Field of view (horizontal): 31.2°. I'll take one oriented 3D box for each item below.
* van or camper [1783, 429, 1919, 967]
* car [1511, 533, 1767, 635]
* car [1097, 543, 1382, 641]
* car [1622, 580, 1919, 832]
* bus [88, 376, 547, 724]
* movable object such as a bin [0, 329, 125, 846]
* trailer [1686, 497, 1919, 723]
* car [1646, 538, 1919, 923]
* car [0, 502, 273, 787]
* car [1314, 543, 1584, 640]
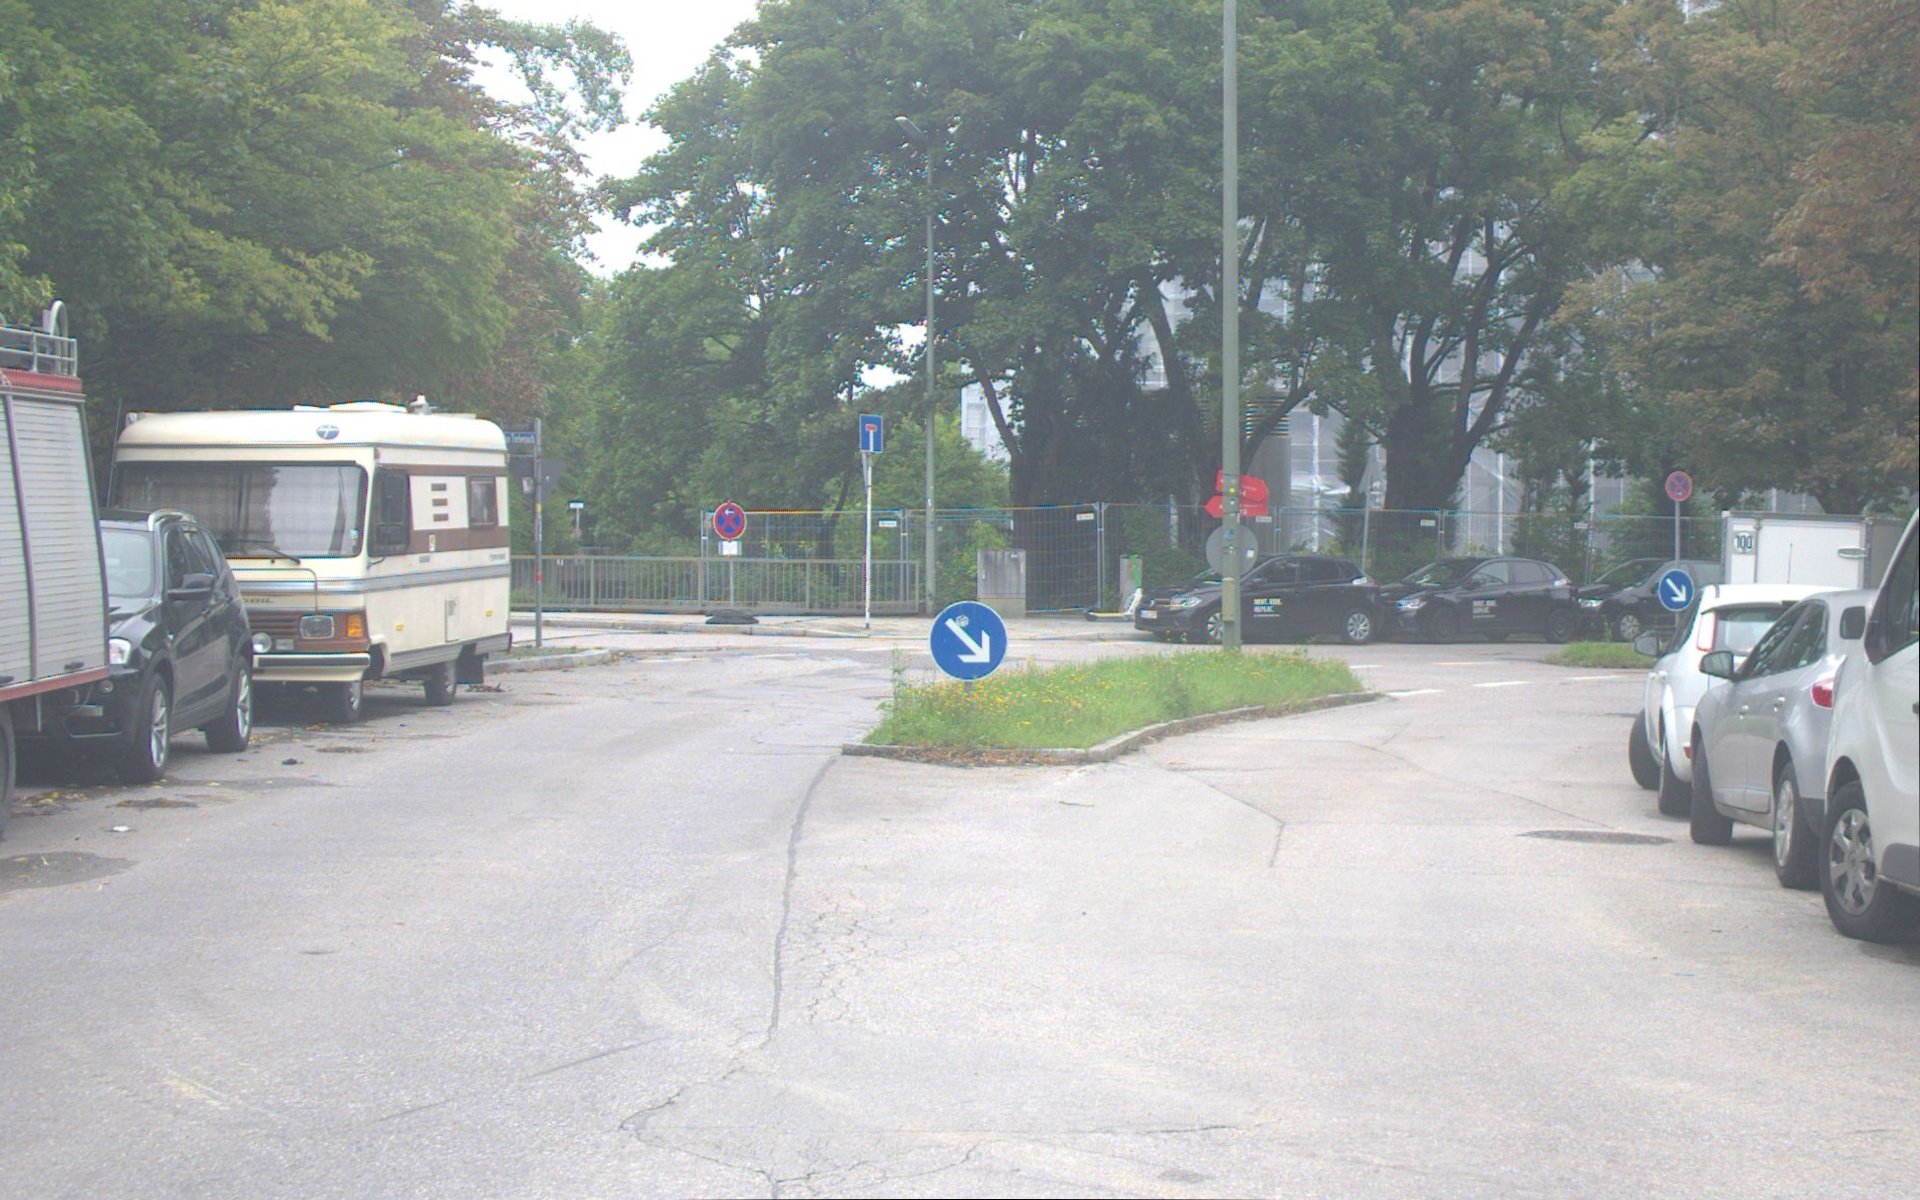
[{"bbox_3d":[4.577,0.379,12.474,1.993,2.007,5.376,1,1,2],"label":"van or camper"},{"bbox_3d":[11.732,-0.280,59.389,3.986,1.700,2.000,0,1,-30],"label":"car"},{"bbox_3d":[4.444,-0.125,54.582,4.029,1.428,2.000,0,3,-29],"label":"car"},{"bbox_3d":[5.446,0.632,23.135,1.767,1.481,4.219,1,1,9],"label":"car"},{"bbox_3d":[-5.360,-0.445,29.640,2.315,2.690,5.733,1,1,6],"label":"bus"},{"bbox_3d":[-5.605,-0.055,15.512,2.104,2.450,6.187,1,1,1],"label":"movable object such as a bin"},{"bbox_3d":[8.439,0.073,33.219,1.811,2.007,4.828,1,1,24],"label":"trailer"},{"bbox_3d":[4.868,0.578,17.667,1.994,1.722,4.449,1,1,3],"label":"car"},{"bbox_3d":[-5.724,0.212,22.190,1.776,1.644,4.461,1,1,-1],"label":"car"},{"bbox_3d":[8.059,-0.143,56.625,3.986,1.536,2.000,0,1,-30],"label":"car"}]
